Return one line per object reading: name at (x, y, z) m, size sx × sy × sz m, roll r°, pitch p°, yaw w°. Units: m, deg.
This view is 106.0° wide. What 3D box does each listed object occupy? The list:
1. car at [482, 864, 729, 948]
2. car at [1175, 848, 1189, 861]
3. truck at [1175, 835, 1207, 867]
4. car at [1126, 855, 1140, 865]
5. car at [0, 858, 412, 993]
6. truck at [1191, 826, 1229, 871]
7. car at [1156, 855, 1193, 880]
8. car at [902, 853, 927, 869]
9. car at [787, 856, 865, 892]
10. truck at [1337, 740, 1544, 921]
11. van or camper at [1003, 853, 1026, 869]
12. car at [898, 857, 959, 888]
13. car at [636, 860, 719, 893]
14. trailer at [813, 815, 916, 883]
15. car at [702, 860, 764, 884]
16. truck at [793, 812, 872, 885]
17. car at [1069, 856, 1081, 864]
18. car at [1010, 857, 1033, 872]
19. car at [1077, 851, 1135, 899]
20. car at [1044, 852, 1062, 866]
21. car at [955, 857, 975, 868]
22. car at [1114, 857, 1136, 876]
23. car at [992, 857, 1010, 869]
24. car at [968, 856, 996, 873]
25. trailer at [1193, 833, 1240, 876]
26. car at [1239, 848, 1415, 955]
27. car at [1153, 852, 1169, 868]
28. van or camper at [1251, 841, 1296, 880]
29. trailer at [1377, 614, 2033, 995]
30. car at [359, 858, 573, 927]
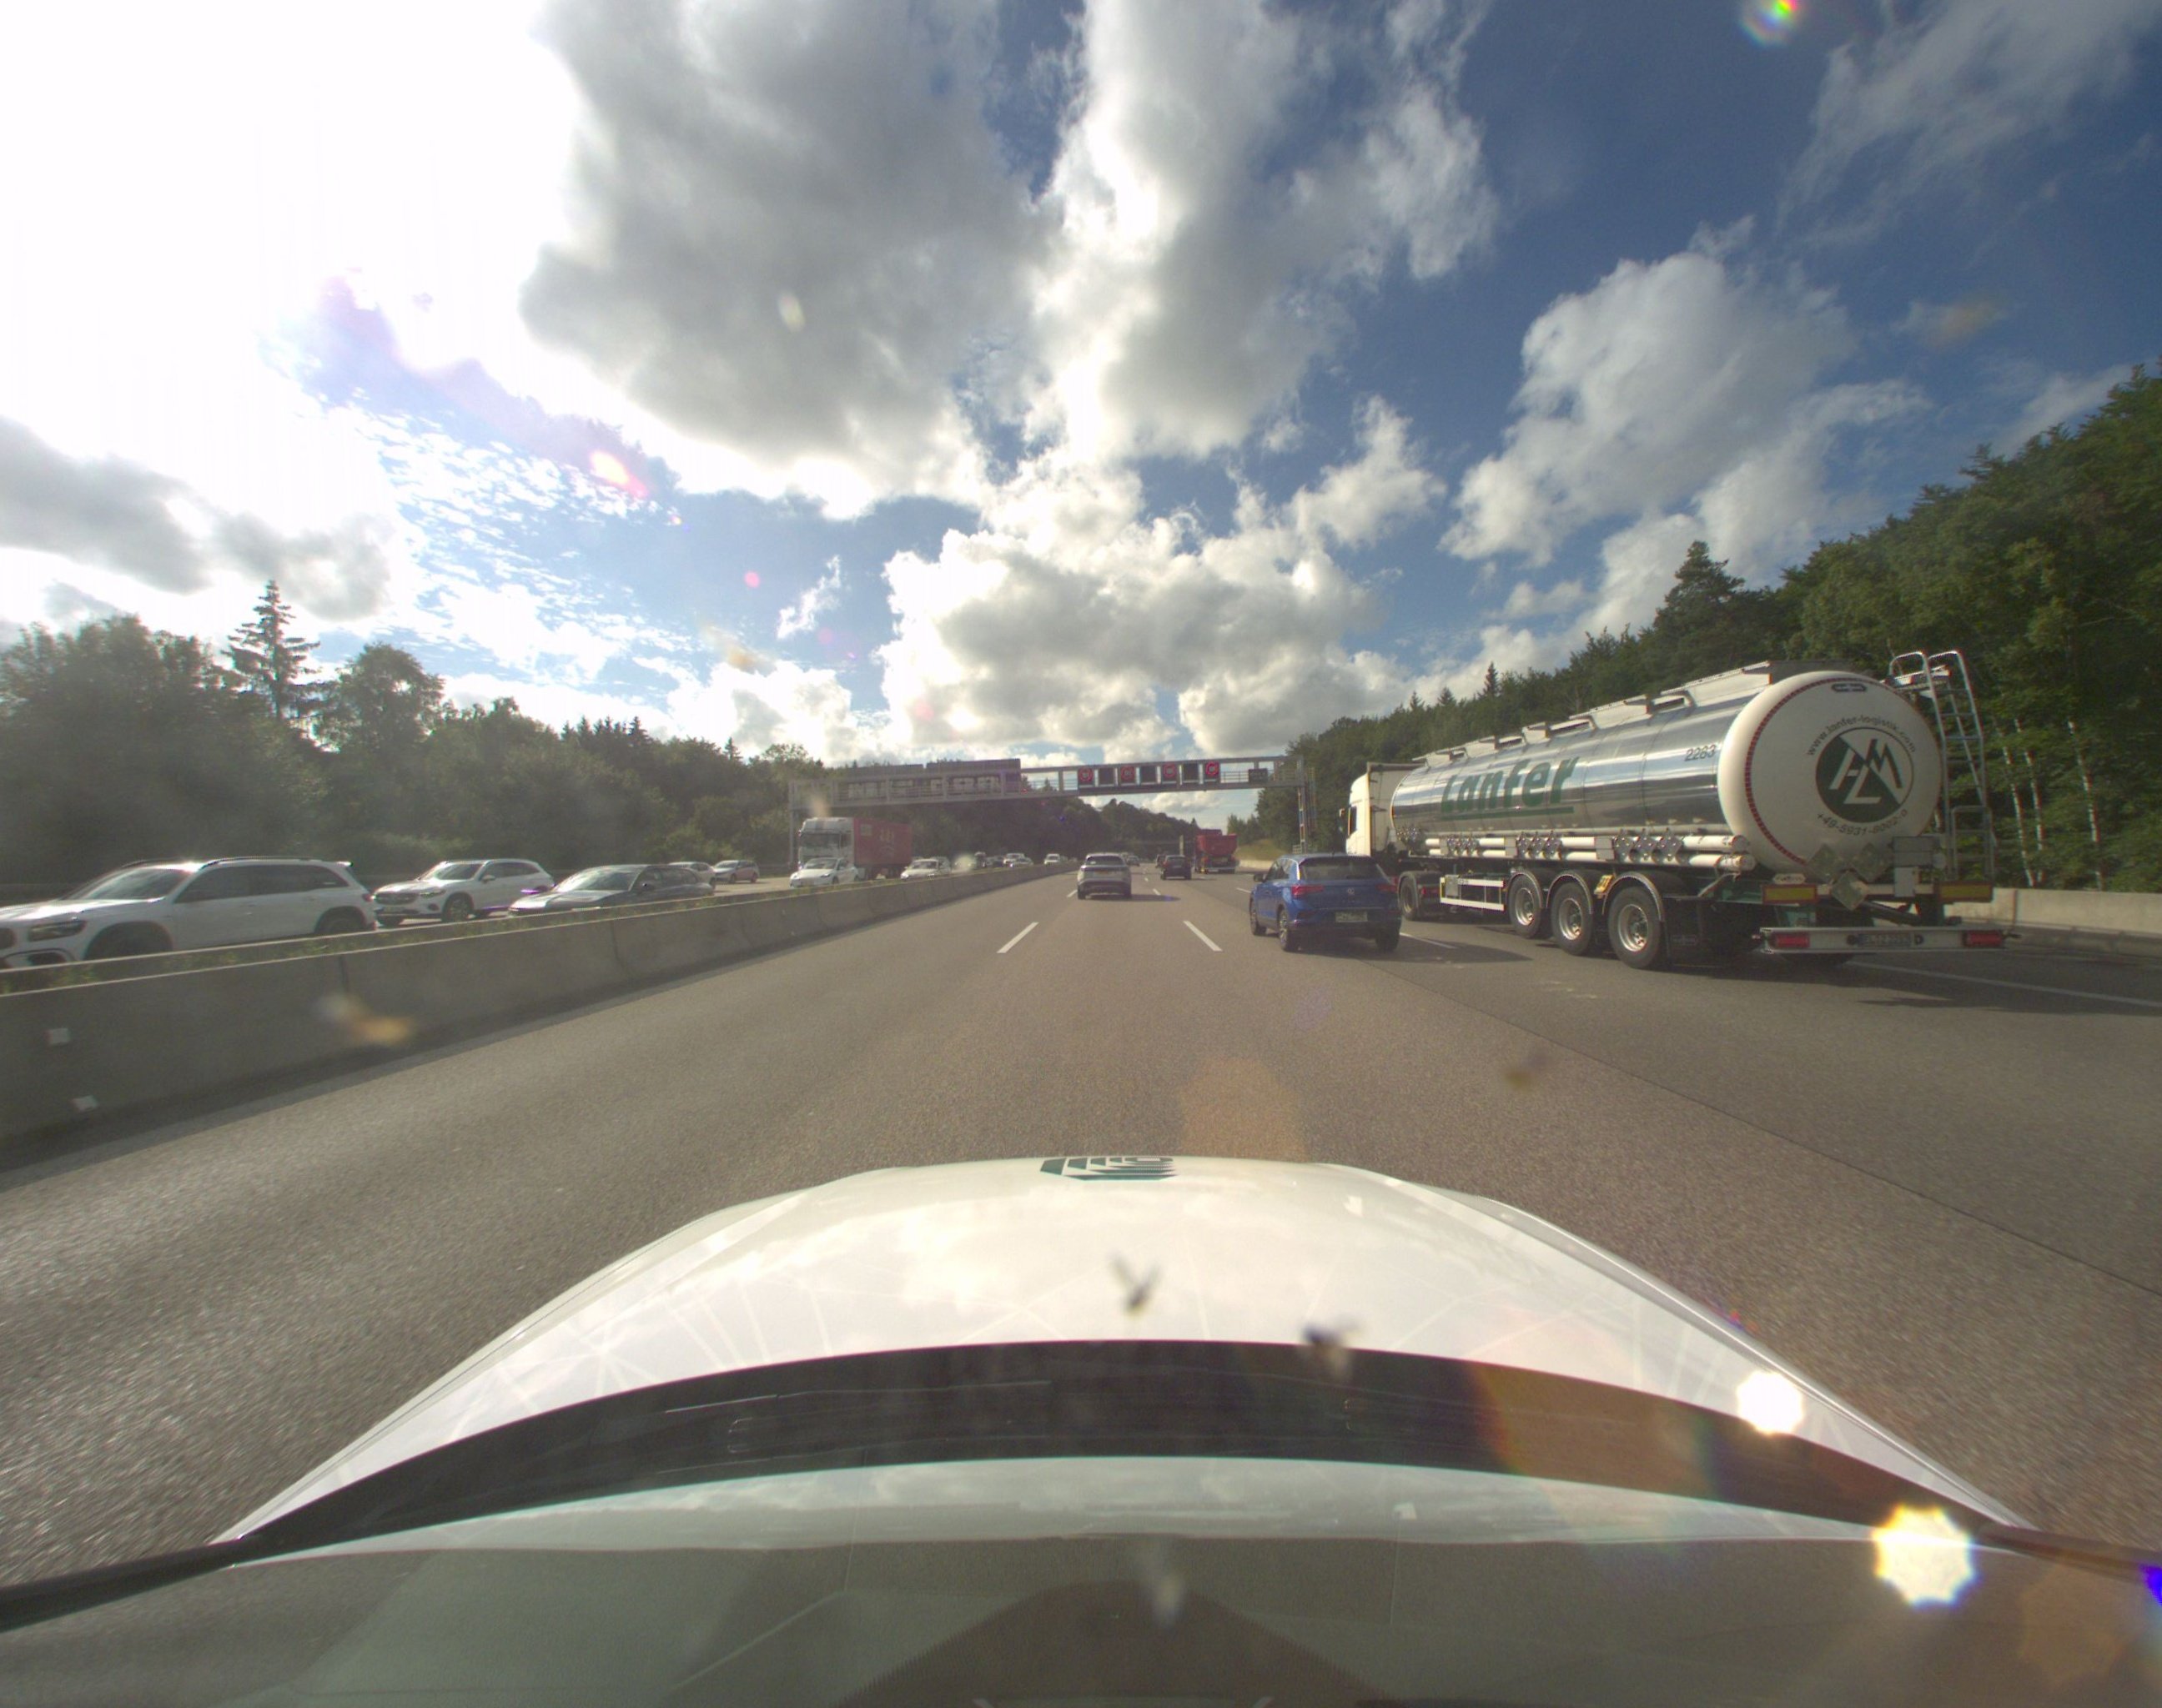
car at (-8.925, 0.893, 15.896) m, size 1.986 × 1.362 × 4.622 m, roll 0°, pitch 0°, yaw 2°
car at (14.543, 0.017, 117.723) m, size 1.885 × 1.857 × 4.106 m, roll 0°, pitch 0°, yaw 5°
truck at (14.082, -0.374, 105.253) m, size 3.106 × 3.935 × 10.415 m, roll 0°, pitch 0°, yaw 2°
car at (7.330, 0.874, 115.036) m, size 1.814 × 1.457 × 4.005 m, roll -1°, pitch -1°, yaw 5°
car at (-12.998, 0.868, 12.178) m, size 1.701 × 1.594 × 4.948 m, roll 0°, pitch 0°, yaw 3°
truck at (11.197, -0.440, 71.089) m, size 2.698 × 3.718 × 5.822 m, roll -1°, pitch 0°, yaw 3°
car at (5.796, 0.802, 50.764) m, size 1.816 × 1.457 × 3.999 m, roll 0°, pitch 0°, yaw 0°
car at (-17.286, 0.750, 84.680) m, size 1.811 × 1.613 × 4.146 m, roll -1°, pitch 0°, yaw 0°
car at (-11.646, 0.881, 37.615) m, size 1.850 × 1.525 × 4.997 m, roll 0°, pitch 0°, yaw 2°
truck at (8.678, -0.495, 20.542) m, size 2.638 × 3.823 × 6.085 m, roll -2°, pitch 0°, yaw 2°
van or camper at (-7.596, 0.789, 93.090) m, size 1.854 × 1.850 × 5.160 m, roll -1°, pitch 0°, yaw 4°
car at (-7.718, 0.894, 41.611) m, size 1.761 × 1.442 × 4.858 m, roll 0°, pitch 0°, yaw 5°
car at (-18.766, 1.016, 38.074) m, size 1.618 × 1.426 × 4.287 m, roll 0°, pitch 0°, yaw 2°
trailer at (-14.464, -0.280, 56.003) m, size 2.727 × 4.106 × 13.427 m, roll -1°, pitch 0°, yaw 3°
car at (-22.161, 1.123, 52.066) m, size 1.986 × 1.438 × 4.280 m, roll 0°, pitch 0°, yaw 2°
truck at (-14.826, -0.287, 49.046) m, size 2.728 × 4.106 × 5.769 m, roll -1°, pitch 0°, yaw 3°
car at (-1.368, 1.255, 183.809) m, size 1.917 × 1.716 × 4.433 m, roll -1°, pitch 0°, yaw 9°
car at (-5.780, 0.976, 79.491) m, size 1.786 × 1.375 × 4.551 m, roll 0°, pitch 0°, yaw 2°
car at (0.918, 0.721, 30.629) m, size 1.999 × 1.616 × 5.302 m, roll 0°, pitch 0°, yaw 1°
car at (-3.325, 0.586, 98.221) m, size 1.762 × 1.649 × 4.524 m, roll -1°, pitch 0°, yaw 4°
car at (-15.633, 1.136, 109.747) m, size 1.694 × 1.440 × 4.712 m, roll -1°, pitch 0°, yaw 4°
car at (3.799, 1.066, 70.185) m, size 1.815 × 1.546 × 4.003 m, roll 0°, pitch 0°, yaw 2°
car at (-10.121, 1.104, 103.226) m, size 1.630 × 1.416 × 4.004 m, roll 0°, pitch 0°, yaw 4°
car at (-9.210, 0.947, 75.933) m, size 1.690 × 1.528 × 4.690 m, roll 0°, pitch 0°, yaw 4°
trailer at (10.918, 0.034, 66.360) m, size 2.698 × 3.231 × 9.741 m, roll -1°, pitch 0°, yaw 3°
car at (4.008, 0.722, 14.073) m, size 1.766 × 1.530 × 4.458 m, roll -1°, pitch -1°, yaw 1°
car at (9.606, 0.728, 97.743) m, size 1.885 × 1.857 × 4.105 m, roll 0°, pitch 0°, yaw 4°
van or camper at (11.947, 0.390, 50.898) m, size 1.815 × 2.307 × 4.942 m, roll -1°, pitch 0°, yaw 3°
trailer at (8.428, -0.495, 14.136) m, size 2.638 × 3.767 × 11.867 m, roll -2°, pitch 0°, yaw 2°
car at (-16.244, 0.924, 21.951) m, size 1.786 × 1.617 × 5.047 m, roll 0°, pitch 0°, yaw 2°
